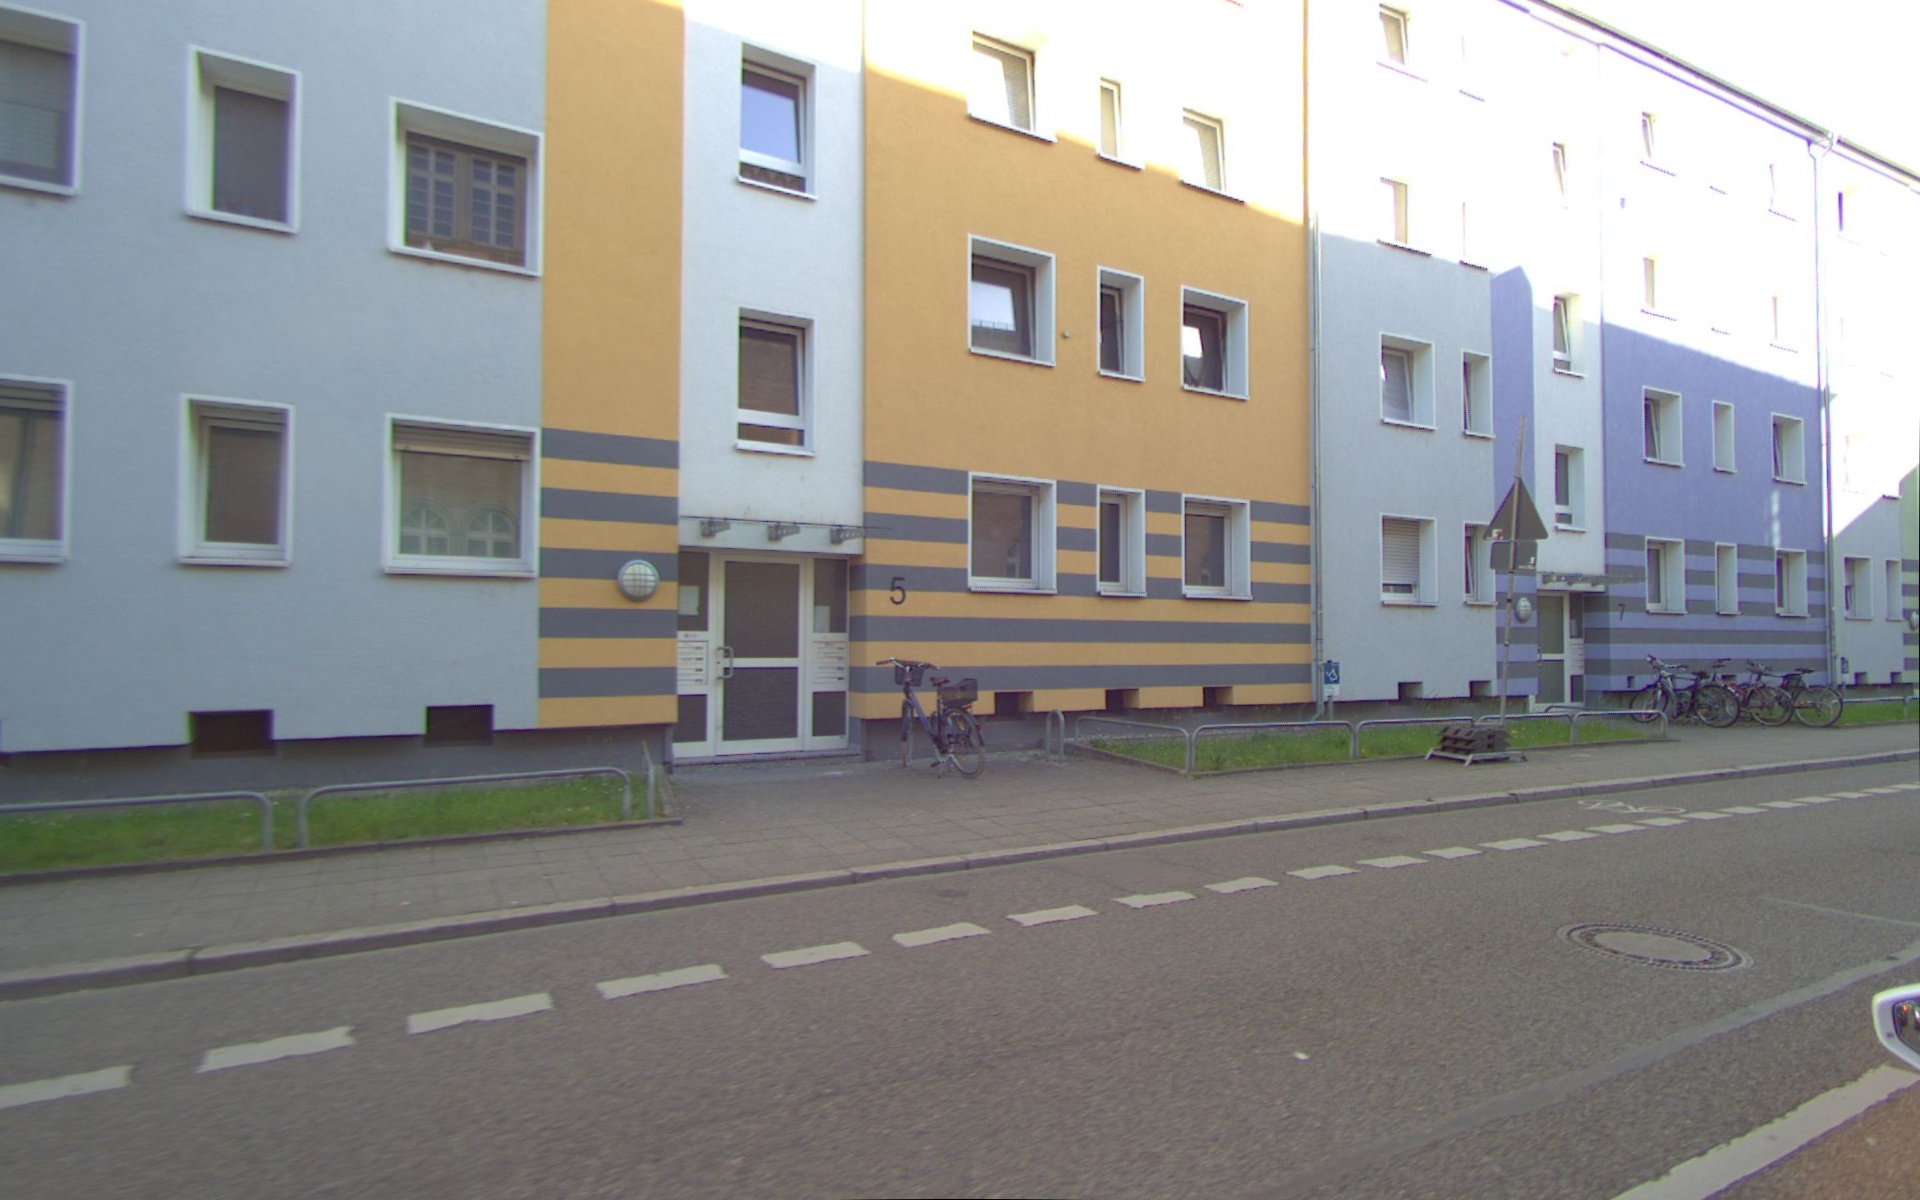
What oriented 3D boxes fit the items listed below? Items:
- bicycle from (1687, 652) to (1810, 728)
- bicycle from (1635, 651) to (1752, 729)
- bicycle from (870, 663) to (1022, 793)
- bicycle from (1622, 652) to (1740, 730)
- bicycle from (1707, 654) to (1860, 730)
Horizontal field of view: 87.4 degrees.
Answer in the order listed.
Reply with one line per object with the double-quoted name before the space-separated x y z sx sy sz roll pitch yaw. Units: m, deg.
"bicycle" 13.800 1.542 17.632 0.461 1.258 1.632 1 -3 -29
"bicycle" 12.587 1.522 17.285 0.444 1.258 1.577 1 -3 -29
"bicycle" -0.175 1.234 10.161 0.645 1.160 1.739 2 -3 -37
"bicycle" 12.226 1.521 17.082 0.379 1.257 1.573 1 -4 -29
"bicycle" 14.522 1.587 17.782 0.615 1.247 1.999 1 -3 -29
